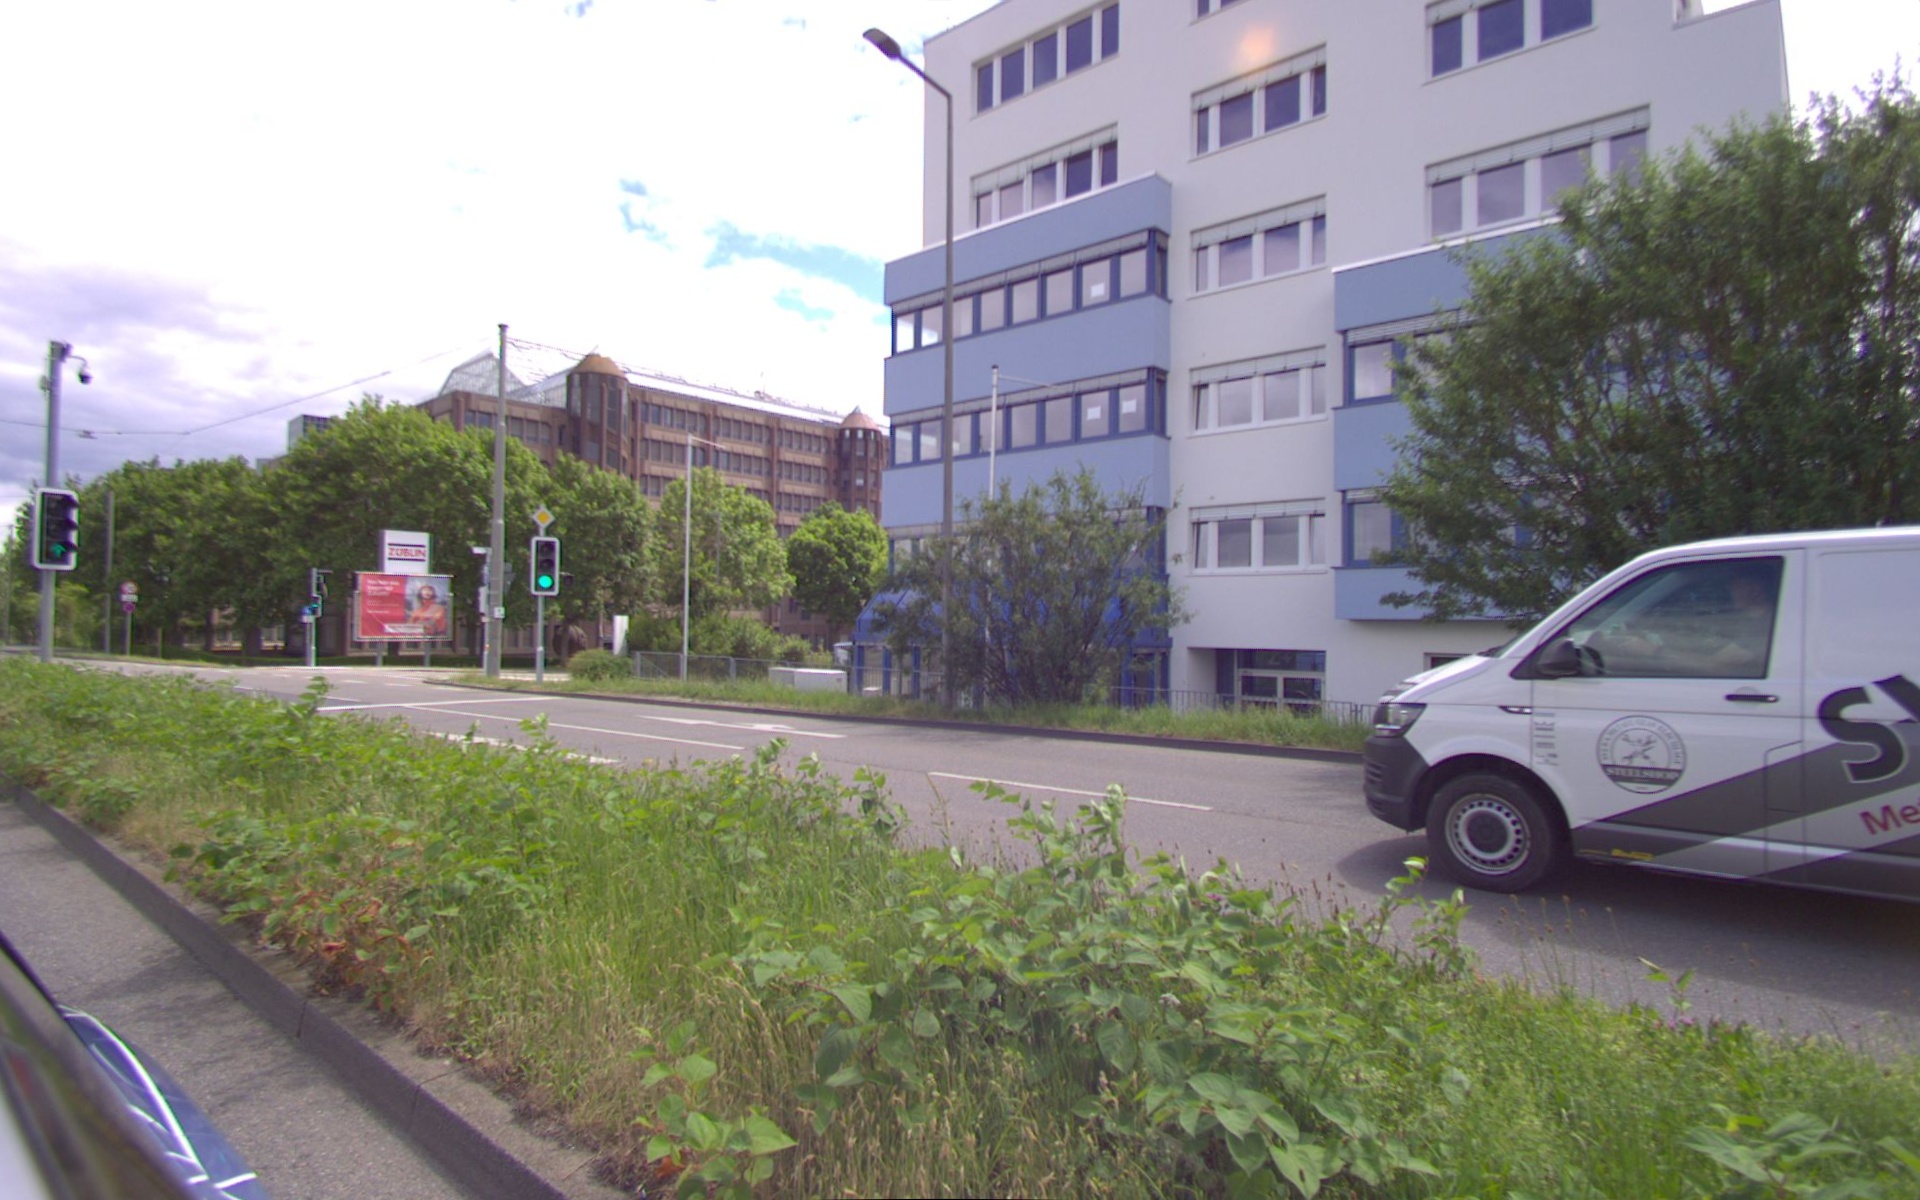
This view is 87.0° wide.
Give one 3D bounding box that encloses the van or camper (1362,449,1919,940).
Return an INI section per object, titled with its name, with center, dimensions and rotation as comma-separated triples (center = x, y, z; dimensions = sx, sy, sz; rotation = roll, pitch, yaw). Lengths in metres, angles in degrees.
[van or camper]
center = 4.717, 0.404, 4.830
dimensions = 4.818, 2.029, 1.971
rotation = -1, -2, 45
